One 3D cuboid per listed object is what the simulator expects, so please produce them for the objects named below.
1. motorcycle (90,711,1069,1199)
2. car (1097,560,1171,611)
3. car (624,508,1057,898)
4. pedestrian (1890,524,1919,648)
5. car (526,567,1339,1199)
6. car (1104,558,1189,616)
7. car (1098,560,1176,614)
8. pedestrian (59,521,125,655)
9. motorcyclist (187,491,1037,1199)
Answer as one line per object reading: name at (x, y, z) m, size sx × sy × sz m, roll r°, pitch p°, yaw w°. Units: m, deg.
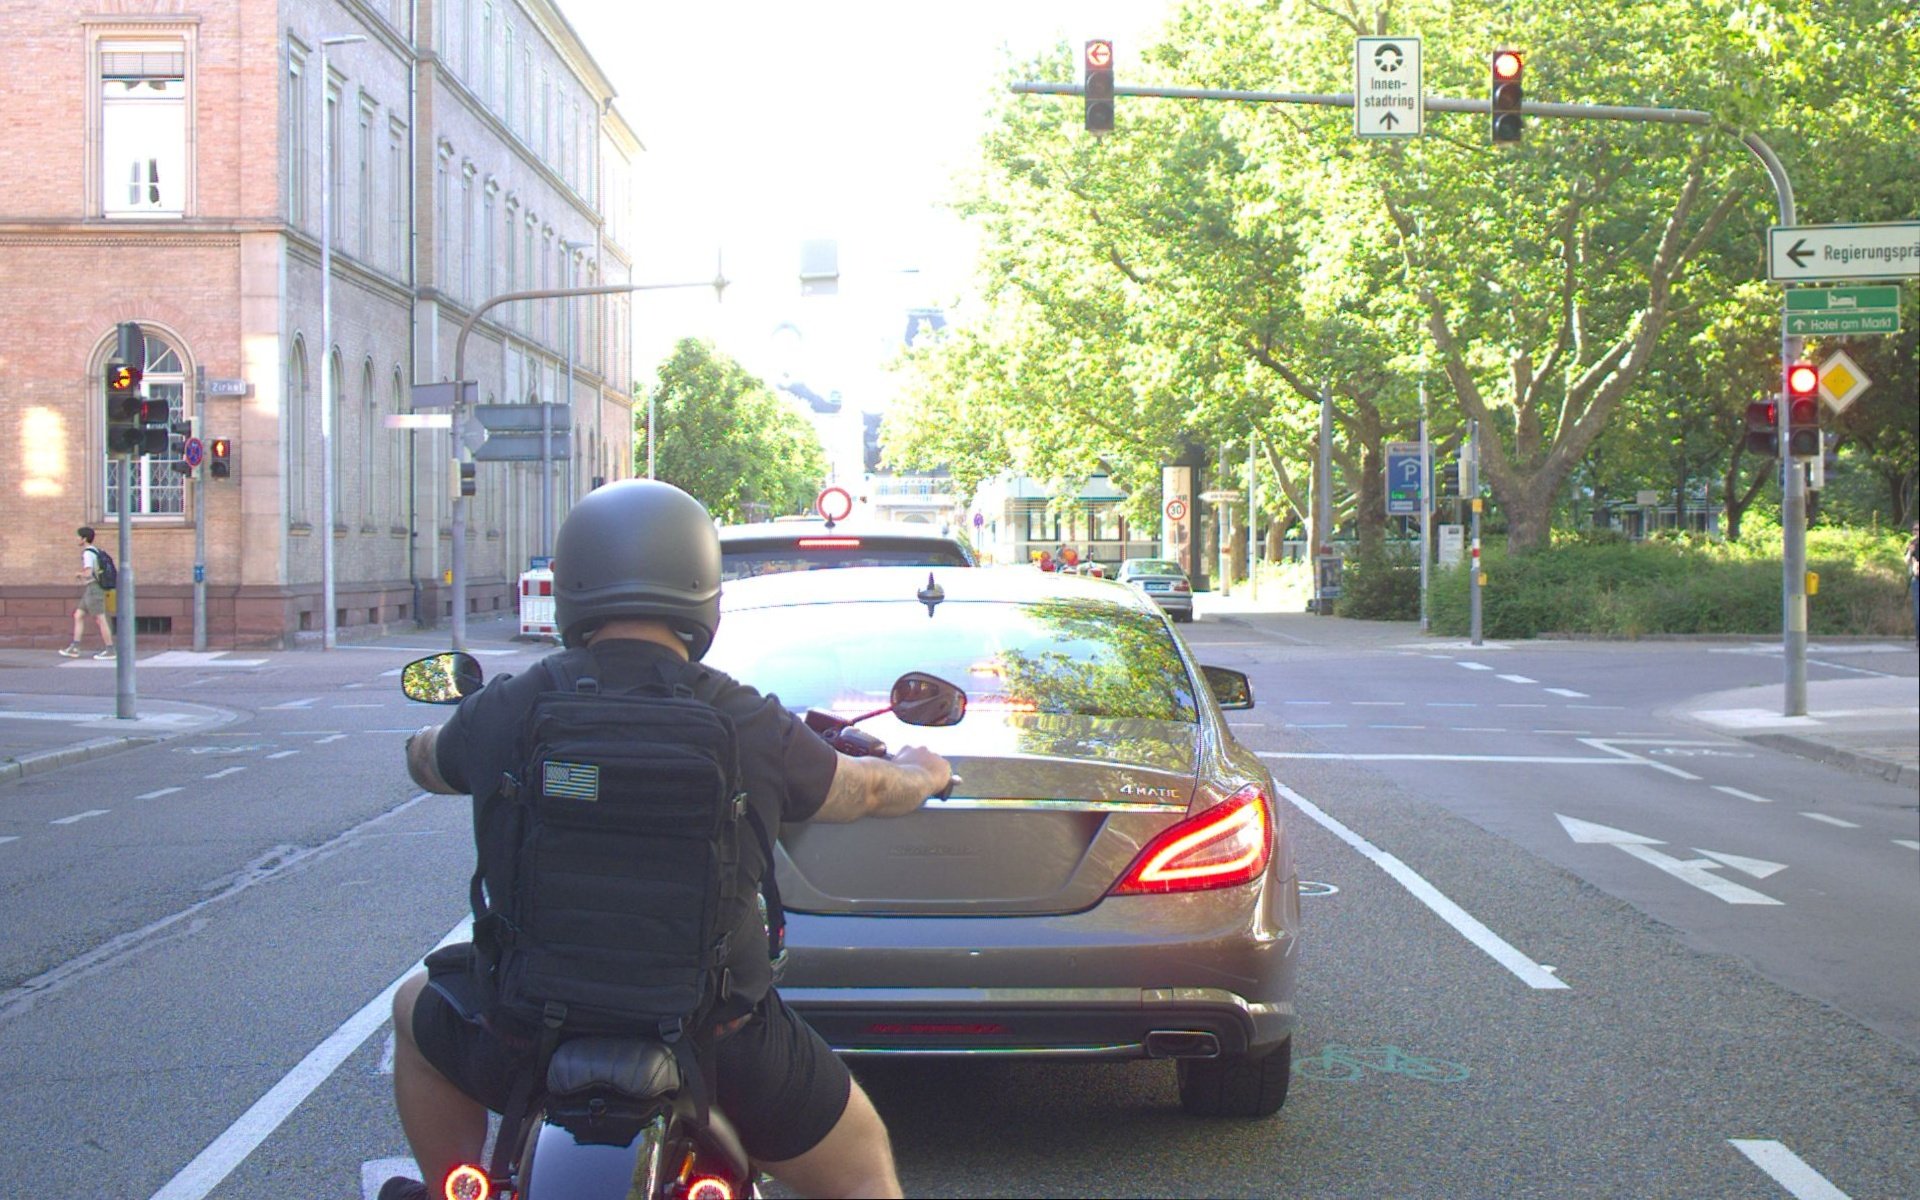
motorcycle at (-0.468, 0.834, 5.526) m, size 1.118 × 1.203 × 2.212 m, roll 1°, pitch 1°, yaw 6°
car at (4.422, -0.377, 87.682) m, size 1.631 × 1.255 × 3.716 m, roll 1°, pitch 1°, yaw -1°
car at (-0.543, 0.428, 16.969) m, size 1.863 × 1.672 × 4.000 m, roll 1°, pitch 1°, yaw -1°
pedestrian at (13.896, -0.207, 49.607) m, size 0.737 × 1.772 × 0.728 m, roll 1°, pitch 0°, yaw 30°
car at (-0.084, 0.636, 9.691) m, size 1.822 × 1.432 × 3.806 m, roll 1°, pitch 1°, yaw -1°
car at (4.141, -0.299, 76.610) m, size 1.631 × 1.255 × 3.716 m, roll 1°, pitch 1°, yaw -1°
car at (4.217, -0.327, 82.440) m, size 1.631 × 1.255 × 3.716 m, roll 1°, pitch 1°, yaw -1°
pedestrian at (-11.878, -0.166, 47.057) m, size 0.738 × 1.814 × 0.643 m, roll 1°, pitch 0°, yaw -1°
motorcyclist at (-0.482, 0.631, 5.303) m, size 1.099 × 1.560 × 1.071 m, roll 1°, pitch 0°, yaw 6°
